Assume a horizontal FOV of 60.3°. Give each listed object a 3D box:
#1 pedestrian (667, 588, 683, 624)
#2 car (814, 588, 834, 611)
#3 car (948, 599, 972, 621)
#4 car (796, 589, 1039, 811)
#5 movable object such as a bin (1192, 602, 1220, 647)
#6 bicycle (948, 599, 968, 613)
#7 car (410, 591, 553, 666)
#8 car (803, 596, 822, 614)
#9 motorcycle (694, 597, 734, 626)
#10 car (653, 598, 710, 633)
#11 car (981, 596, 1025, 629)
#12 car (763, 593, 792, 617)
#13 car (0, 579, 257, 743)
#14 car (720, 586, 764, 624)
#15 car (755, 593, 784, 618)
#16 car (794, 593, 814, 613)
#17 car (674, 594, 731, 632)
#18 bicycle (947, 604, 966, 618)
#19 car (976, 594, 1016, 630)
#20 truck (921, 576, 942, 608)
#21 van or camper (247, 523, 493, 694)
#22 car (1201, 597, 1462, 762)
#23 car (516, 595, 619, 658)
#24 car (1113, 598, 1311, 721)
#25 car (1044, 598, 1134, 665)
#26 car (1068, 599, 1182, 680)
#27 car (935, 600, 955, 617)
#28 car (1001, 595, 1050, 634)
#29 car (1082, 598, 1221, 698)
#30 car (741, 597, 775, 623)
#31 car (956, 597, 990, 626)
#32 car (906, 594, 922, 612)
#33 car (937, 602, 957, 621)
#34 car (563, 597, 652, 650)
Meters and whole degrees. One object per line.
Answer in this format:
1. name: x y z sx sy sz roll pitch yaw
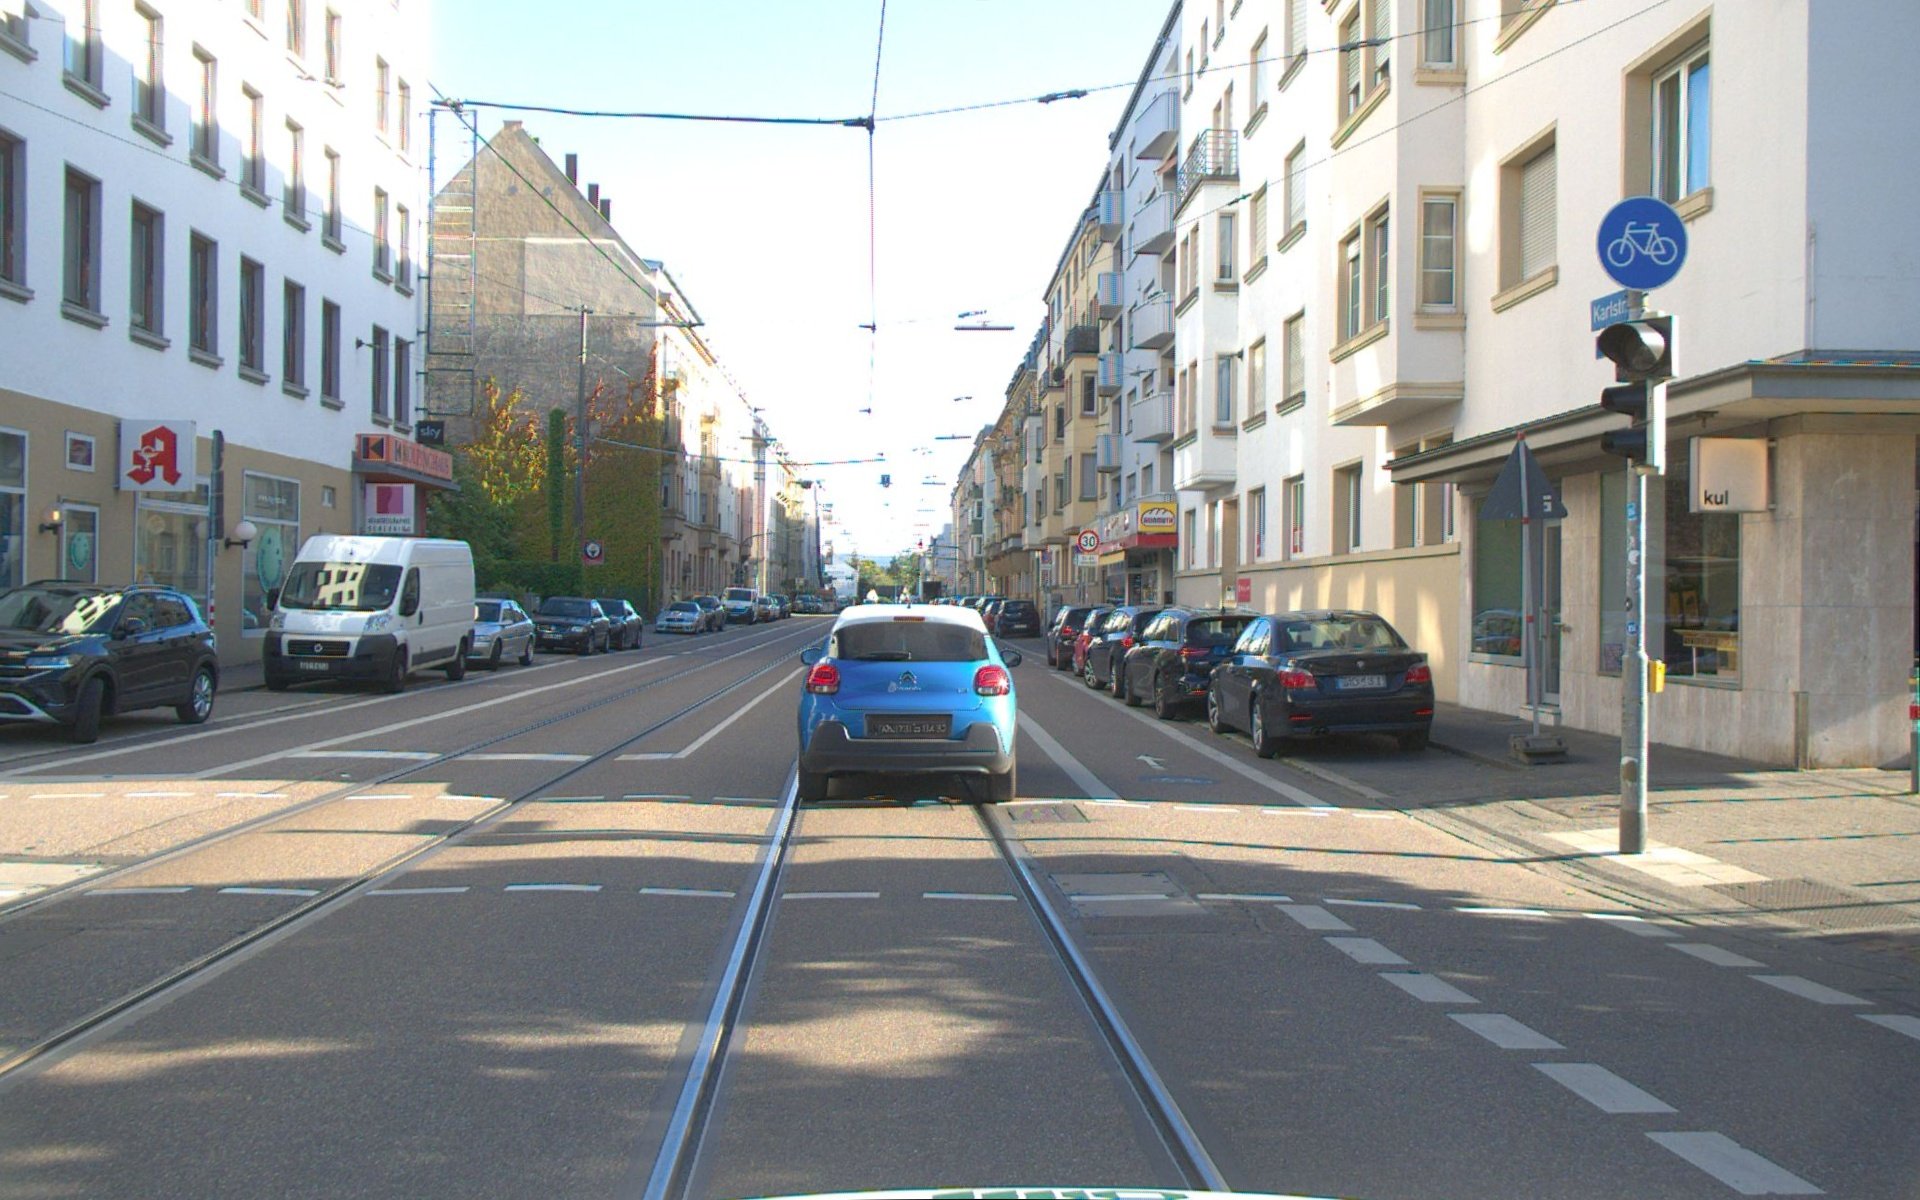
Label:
1. pedestrian: -14.087 0.301 81.781 0.666 1.754 0.616 1 0 -2
2. car: -15.520 -0.025 188.569 2.102 2.518 4.976 2 0 -4
3. car: -0.032 0.714 120.394 1.717 1.622 3.729 0 0 -1
4. car: -0.366 0.720 13.907 1.700 1.533 3.991 2 0 -2
5. movable object such as a bin: 6.029 0.601 40.545 0.547 1.075 0.554 1 0 -3
6. bicycle: -0.177 0.548 147.971 1.688 1.174 0.469 -3 0 -2
7. car: -10.087 0.562 35.174 1.747 1.423 4.444 2 0 -1
8. car: -14.650 0.476 164.633 1.748 1.655 4.605 2 0 -4
9. motorcycle: -11.996 0.558 80.696 0.867 1.375 1.953 1 0 30
10. car: -11.491 0.612 68.428 1.747 1.337 4.219 2 0 -2
11. car: 1.924 0.551 75.893 1.821 1.481 4.708 0 0 -1
12. car: -13.073 0.358 118.567 1.747 1.580 3.018 2 0 -2
13. car: -9.543 0.595 18.361 1.747 1.579 3.991 2 0 -1
14. car: -12.139 0.284 92.321 1.934 1.983 5.248 2 0 -3
15. car: -13.013 0.368 113.320 1.748 1.650 4.176 2 0 -4
16. car: -14.473 0.289 153.685 1.748 1.720 4.664 2 0 -4
17. car: -11.486 0.565 74.058 1.747 1.593 4.610 2 0 0
18. bicycle: -0.290 1.034 150.789 1.688 1.174 0.469 -3 0 -2
19. car: 1.761 0.576 82.365 1.821 1.695 4.560 0 0 -1
20. truck: -3.907 -1.052 224.693 2.795 4.154 11.268 0 0 -1
21. van or camper: -9.791 0.129 28.116 2.128 2.510 6.228 2 0 -3
22. car: 3.986 0.775 18.600 1.713 1.533 4.918 -2 0 -1
23. car: -10.277 0.655 43.637 1.747 1.507 4.697 2 0 -3
24. car: 3.528 0.786 23.995 1.821 1.533 4.502 -2 0 -4
25. car: 2.983 0.710 39.031 1.676 1.432 4.357 -2 0 -1
26. car: 3.291 0.758 33.724 1.819 1.498 3.988 -2 0 -1
27. car: -1.454 0.782 159.388 1.747 1.603 4.324 0 0 -2
28. car: 2.634 0.580 67.339 1.683 1.517 4.000 -1 0 -2
29. car: 3.212 0.771 28.511 1.819 1.533 4.095 -2 0 -1
30. car: -12.438 0.600 102.101 1.748 1.550 4.357 2 0 -3
31. car: 0.763 0.675 98.950 1.806 1.720 4.503 0 0 -2
32. car: -5.204 0.347 187.680 1.784 1.927 3.998 1 0 -2
33. car: -1.241 1.065 154.019 1.747 1.660 3.998 0 0 -2
34. car: -10.578 0.676 49.984 1.747 1.471 4.840 2 0 -2
